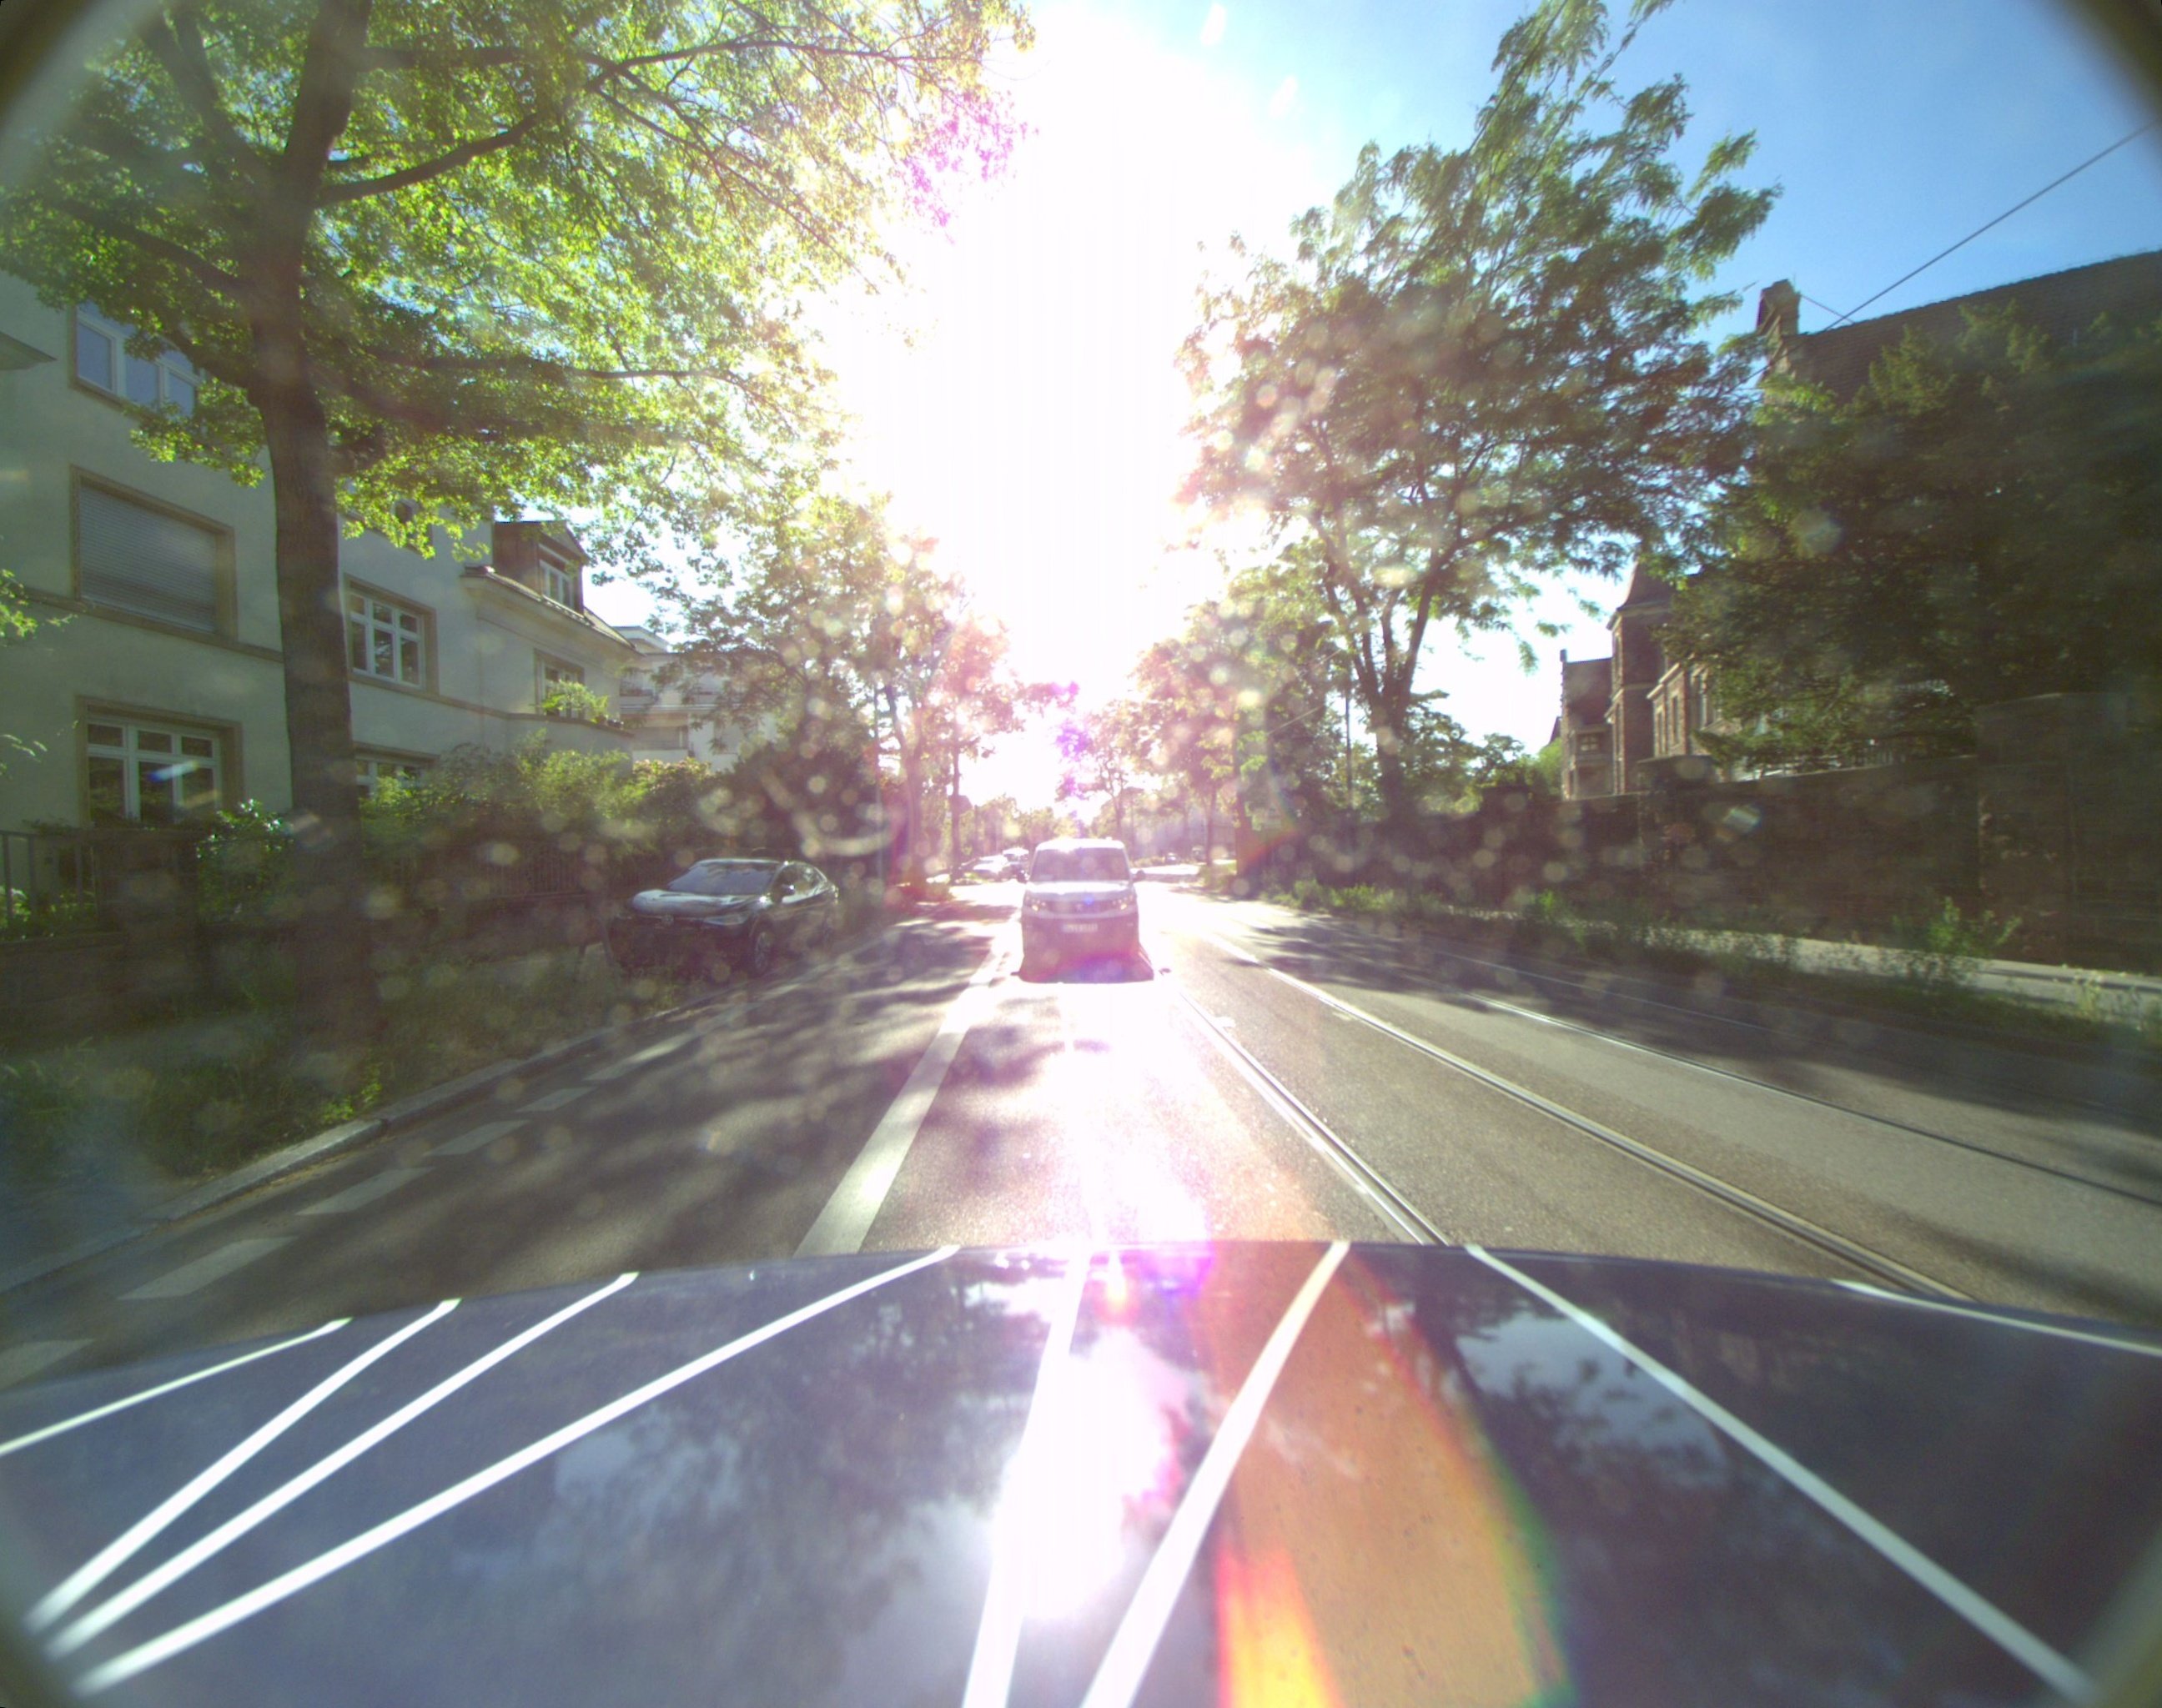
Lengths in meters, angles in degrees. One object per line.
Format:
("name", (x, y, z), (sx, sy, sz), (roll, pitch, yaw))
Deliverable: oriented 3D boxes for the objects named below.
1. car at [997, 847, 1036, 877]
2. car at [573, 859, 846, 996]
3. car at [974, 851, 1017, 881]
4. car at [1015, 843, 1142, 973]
("car", (-4.353, 0.506, 51.777), (2.129, 1.884, 4.746), (-2, 0, 1))
("car", (-5.248, 0.935, 11.542), (1.999, 1.665, 4.380), (1, -1, 0))
("car", (-5.038, 0.663, 45.216), (1.823, 1.630, 4.001), (-2, 0, 4))
("car", (-0.044, 0.750, 12.682), (1.768, 1.812, 3.999), (-1, 0, 0))
